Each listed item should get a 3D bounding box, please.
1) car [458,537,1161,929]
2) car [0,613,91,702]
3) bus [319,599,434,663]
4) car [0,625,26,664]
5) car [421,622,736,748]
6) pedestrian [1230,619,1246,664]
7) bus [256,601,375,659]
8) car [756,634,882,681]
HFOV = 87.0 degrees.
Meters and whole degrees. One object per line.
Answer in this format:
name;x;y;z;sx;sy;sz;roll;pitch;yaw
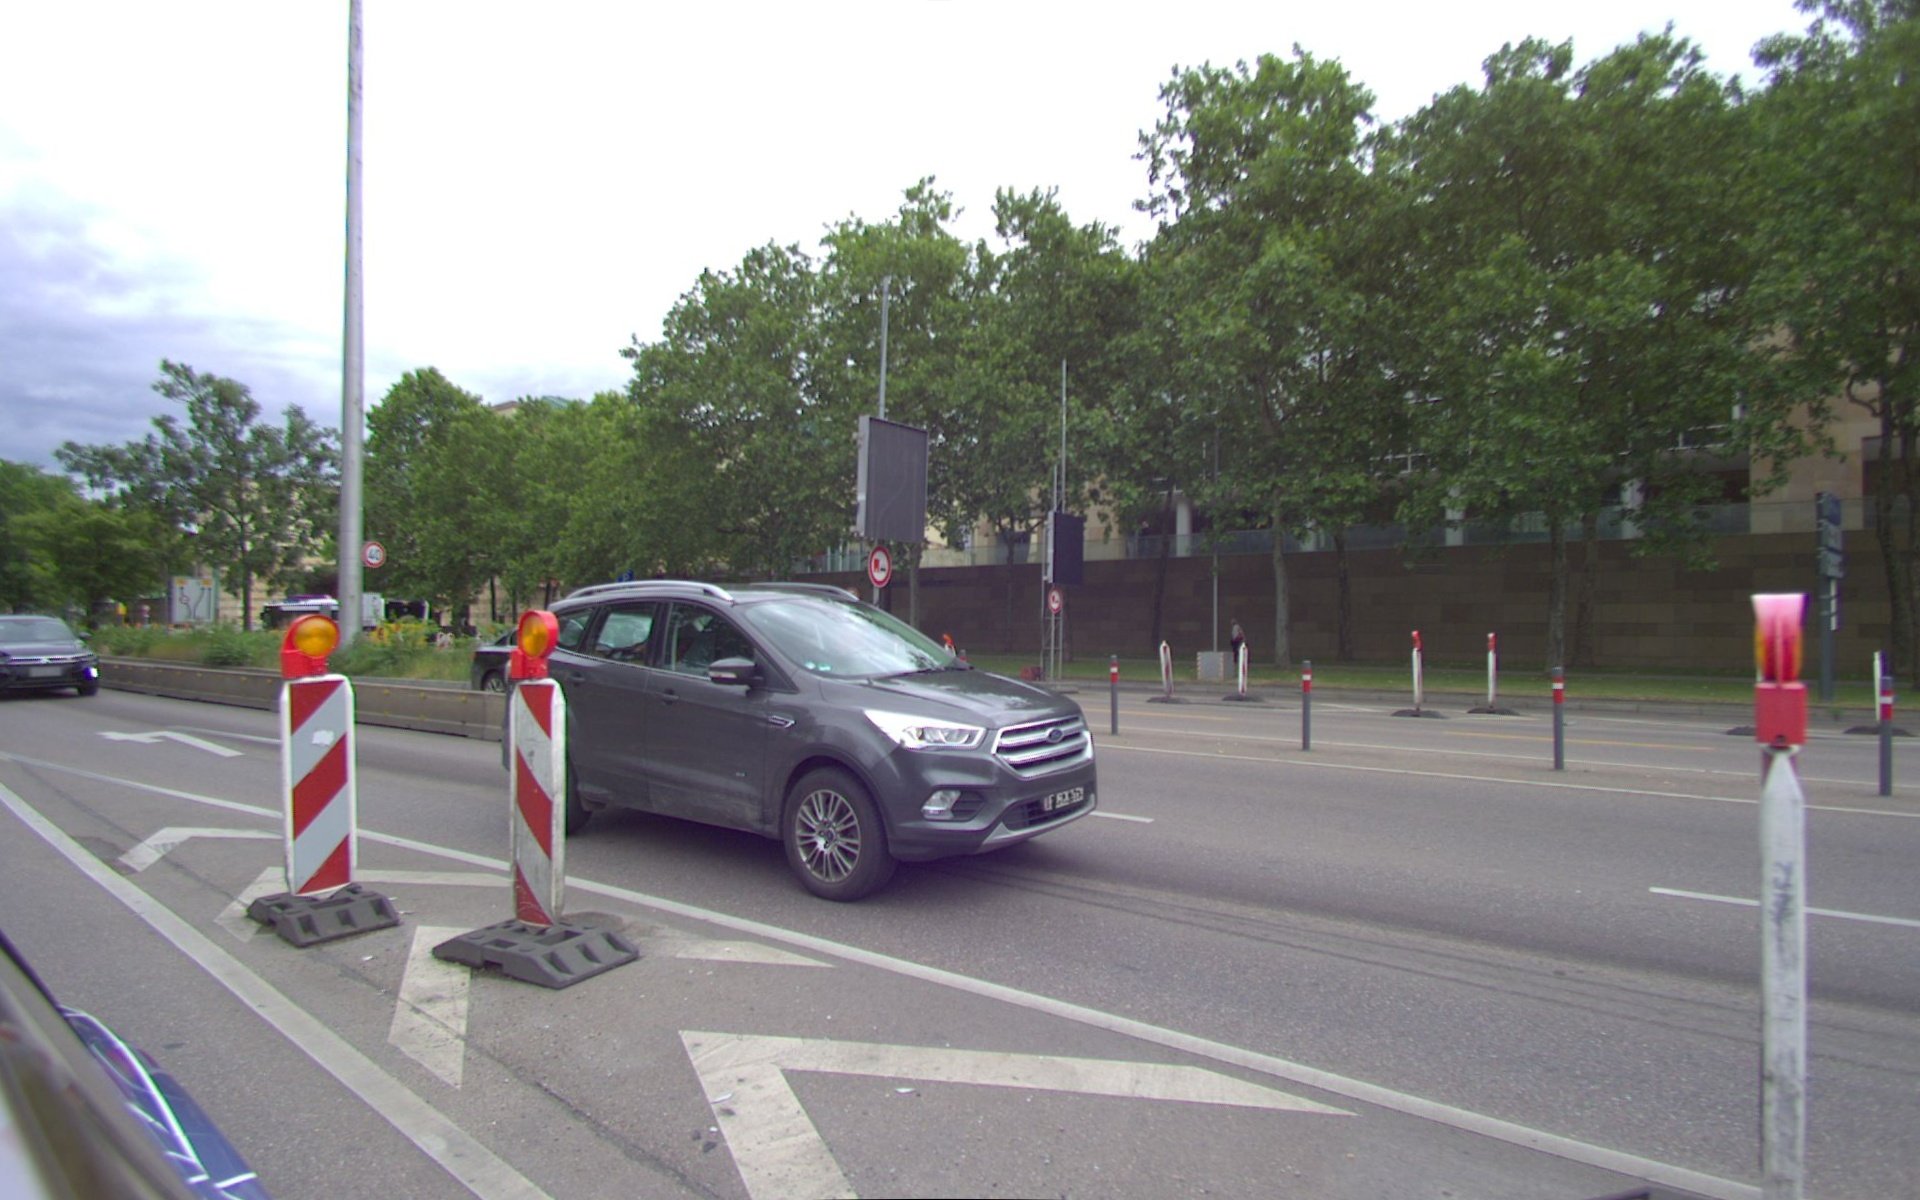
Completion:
car;-1.230;0.637;6.649;4.651;1.728;1.876;-2;-1;38
car;-18.151;1.033;19.296;4.149;1.527;1.745;0;0;40
bus;-32.470;1.674;56.179;7.697;3.329;2.894;-1;-2;39
car;-39.732;1.787;41.054;4.803;1.494;1.974;-1;-2;38
car;-5.470;1.061;14.231;4.803;1.494;1.974;-1;-2;38
pedestrian;10.062;1.492;36.645;0.443;1.619;0.351;0;1;33
bus;-39.519;1.814;61.869;10.437;3.330;2.884;-1;-2;39
car;-4.441;1.751;31.620;3.997;1.383;1.708;-2;-3;40
